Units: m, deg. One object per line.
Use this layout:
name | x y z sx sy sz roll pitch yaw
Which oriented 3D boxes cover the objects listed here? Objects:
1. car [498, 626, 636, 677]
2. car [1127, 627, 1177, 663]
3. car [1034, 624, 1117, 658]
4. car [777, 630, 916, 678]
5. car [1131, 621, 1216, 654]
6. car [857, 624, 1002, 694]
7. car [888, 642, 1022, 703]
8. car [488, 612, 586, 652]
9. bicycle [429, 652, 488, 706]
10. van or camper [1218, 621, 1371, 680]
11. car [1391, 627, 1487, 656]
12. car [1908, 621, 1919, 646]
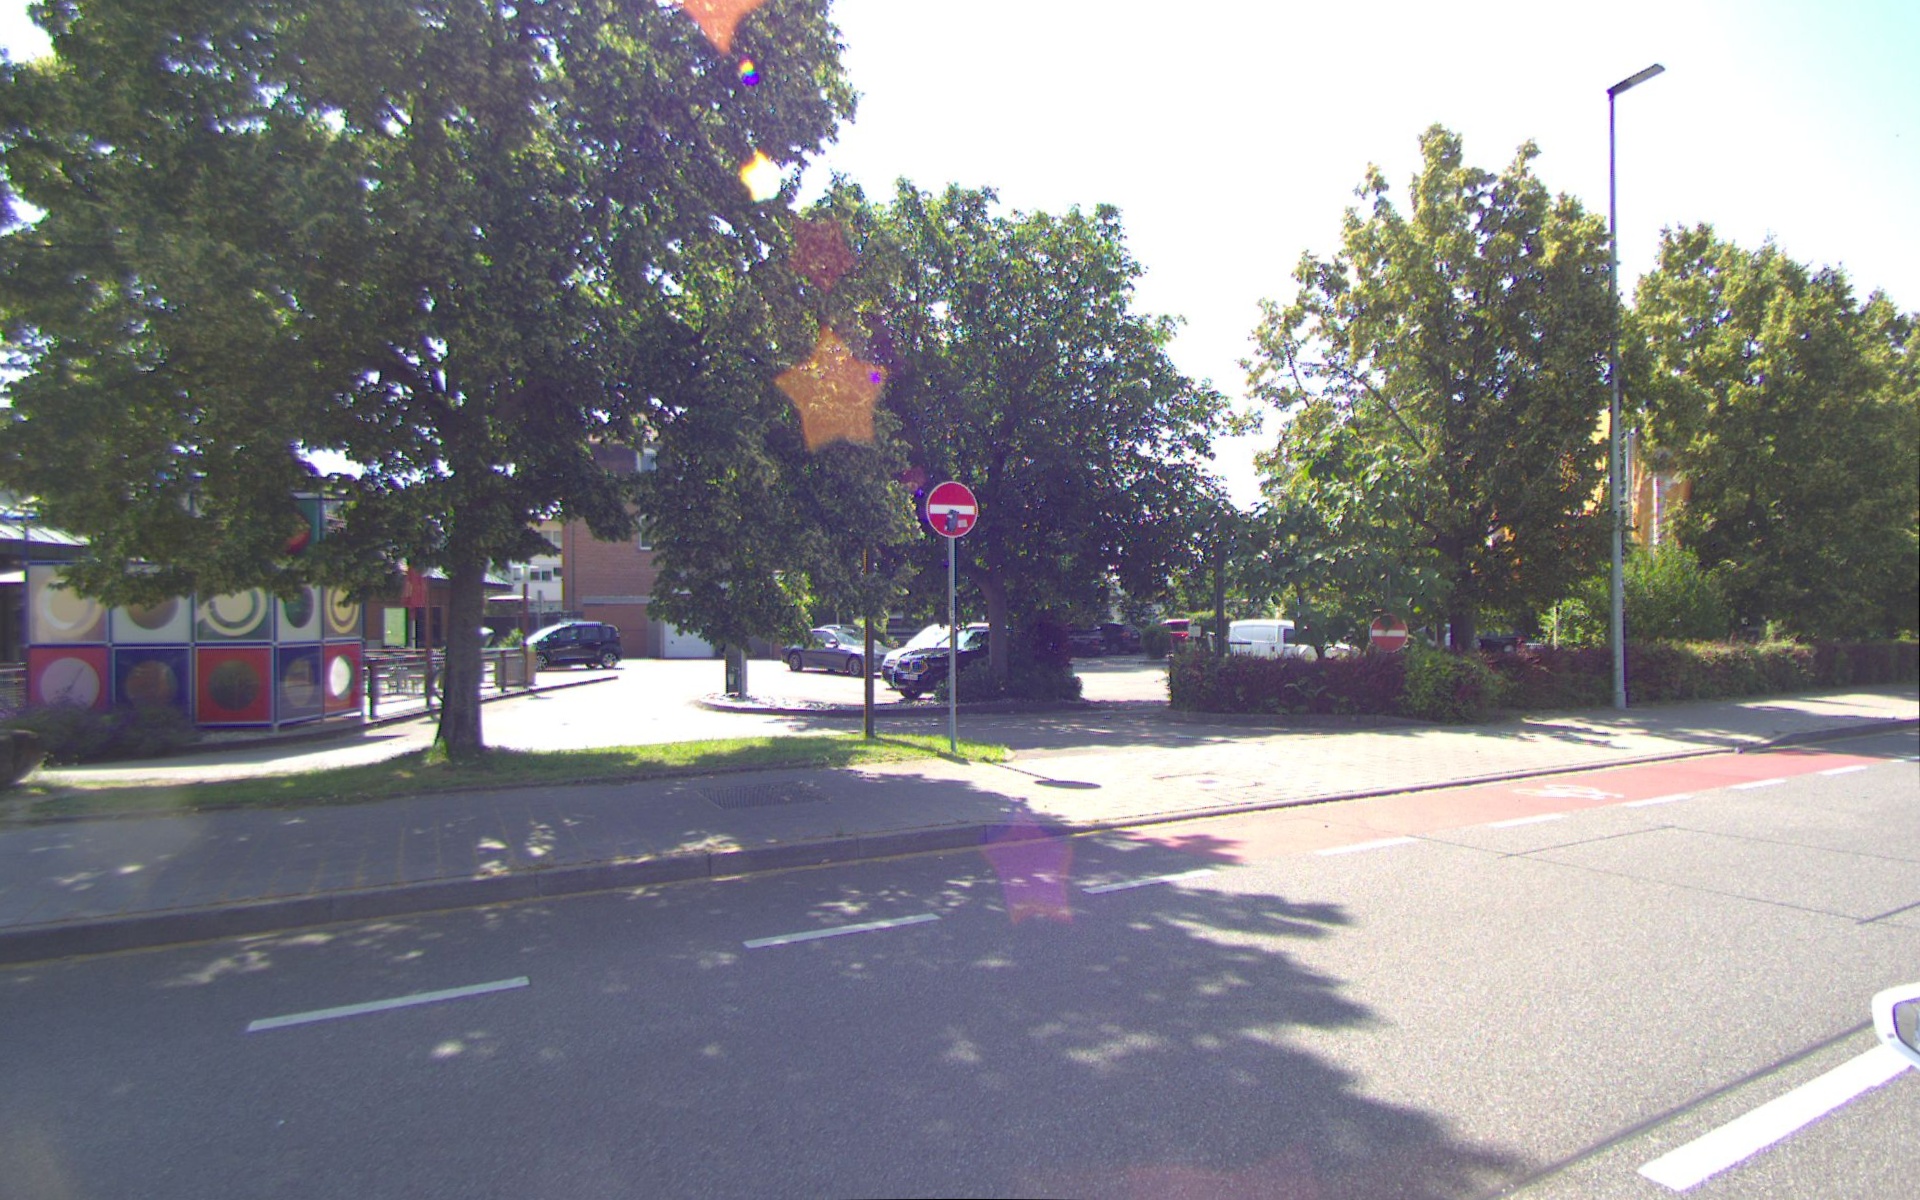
car | -14.091 1.792 36.199 1.751 1.707 4.322 -2 -2 45
car | 8.490 1.970 44.683 1.472 1.546 3.433 -1 -2 -1
car | 5.722 2.040 50.248 1.785 1.619 3.951 1 -2 -42
car | -3.719 1.718 32.687 4.322 1.457 1.993 -2 -2 37
car | 10.901 1.886 51.416 1.785 1.619 3.951 1 -2 -42
car | -0.757 1.554 27.517 1.691 1.758 4.232 -2 -2 37
car | -0.020 1.705 24.520 1.579 1.303 3.995 -1 -2 28
car | -23.642 1.786 56.309 4.716 2.206 1.997 0 -1 -9
bicycle | -10.185 1.576 20.456 0.302 1.005 1.858 0 -2 -1
van or camper | 10.708 1.592 32.301 4.224 1.763 1.989 -2 -2 43
car | 25.352 2.196 53.204 4.224 1.457 1.989 -2 -2 43
car | 75.394 2.578 77.327 1.960 1.929 4.001 0 -1 19
